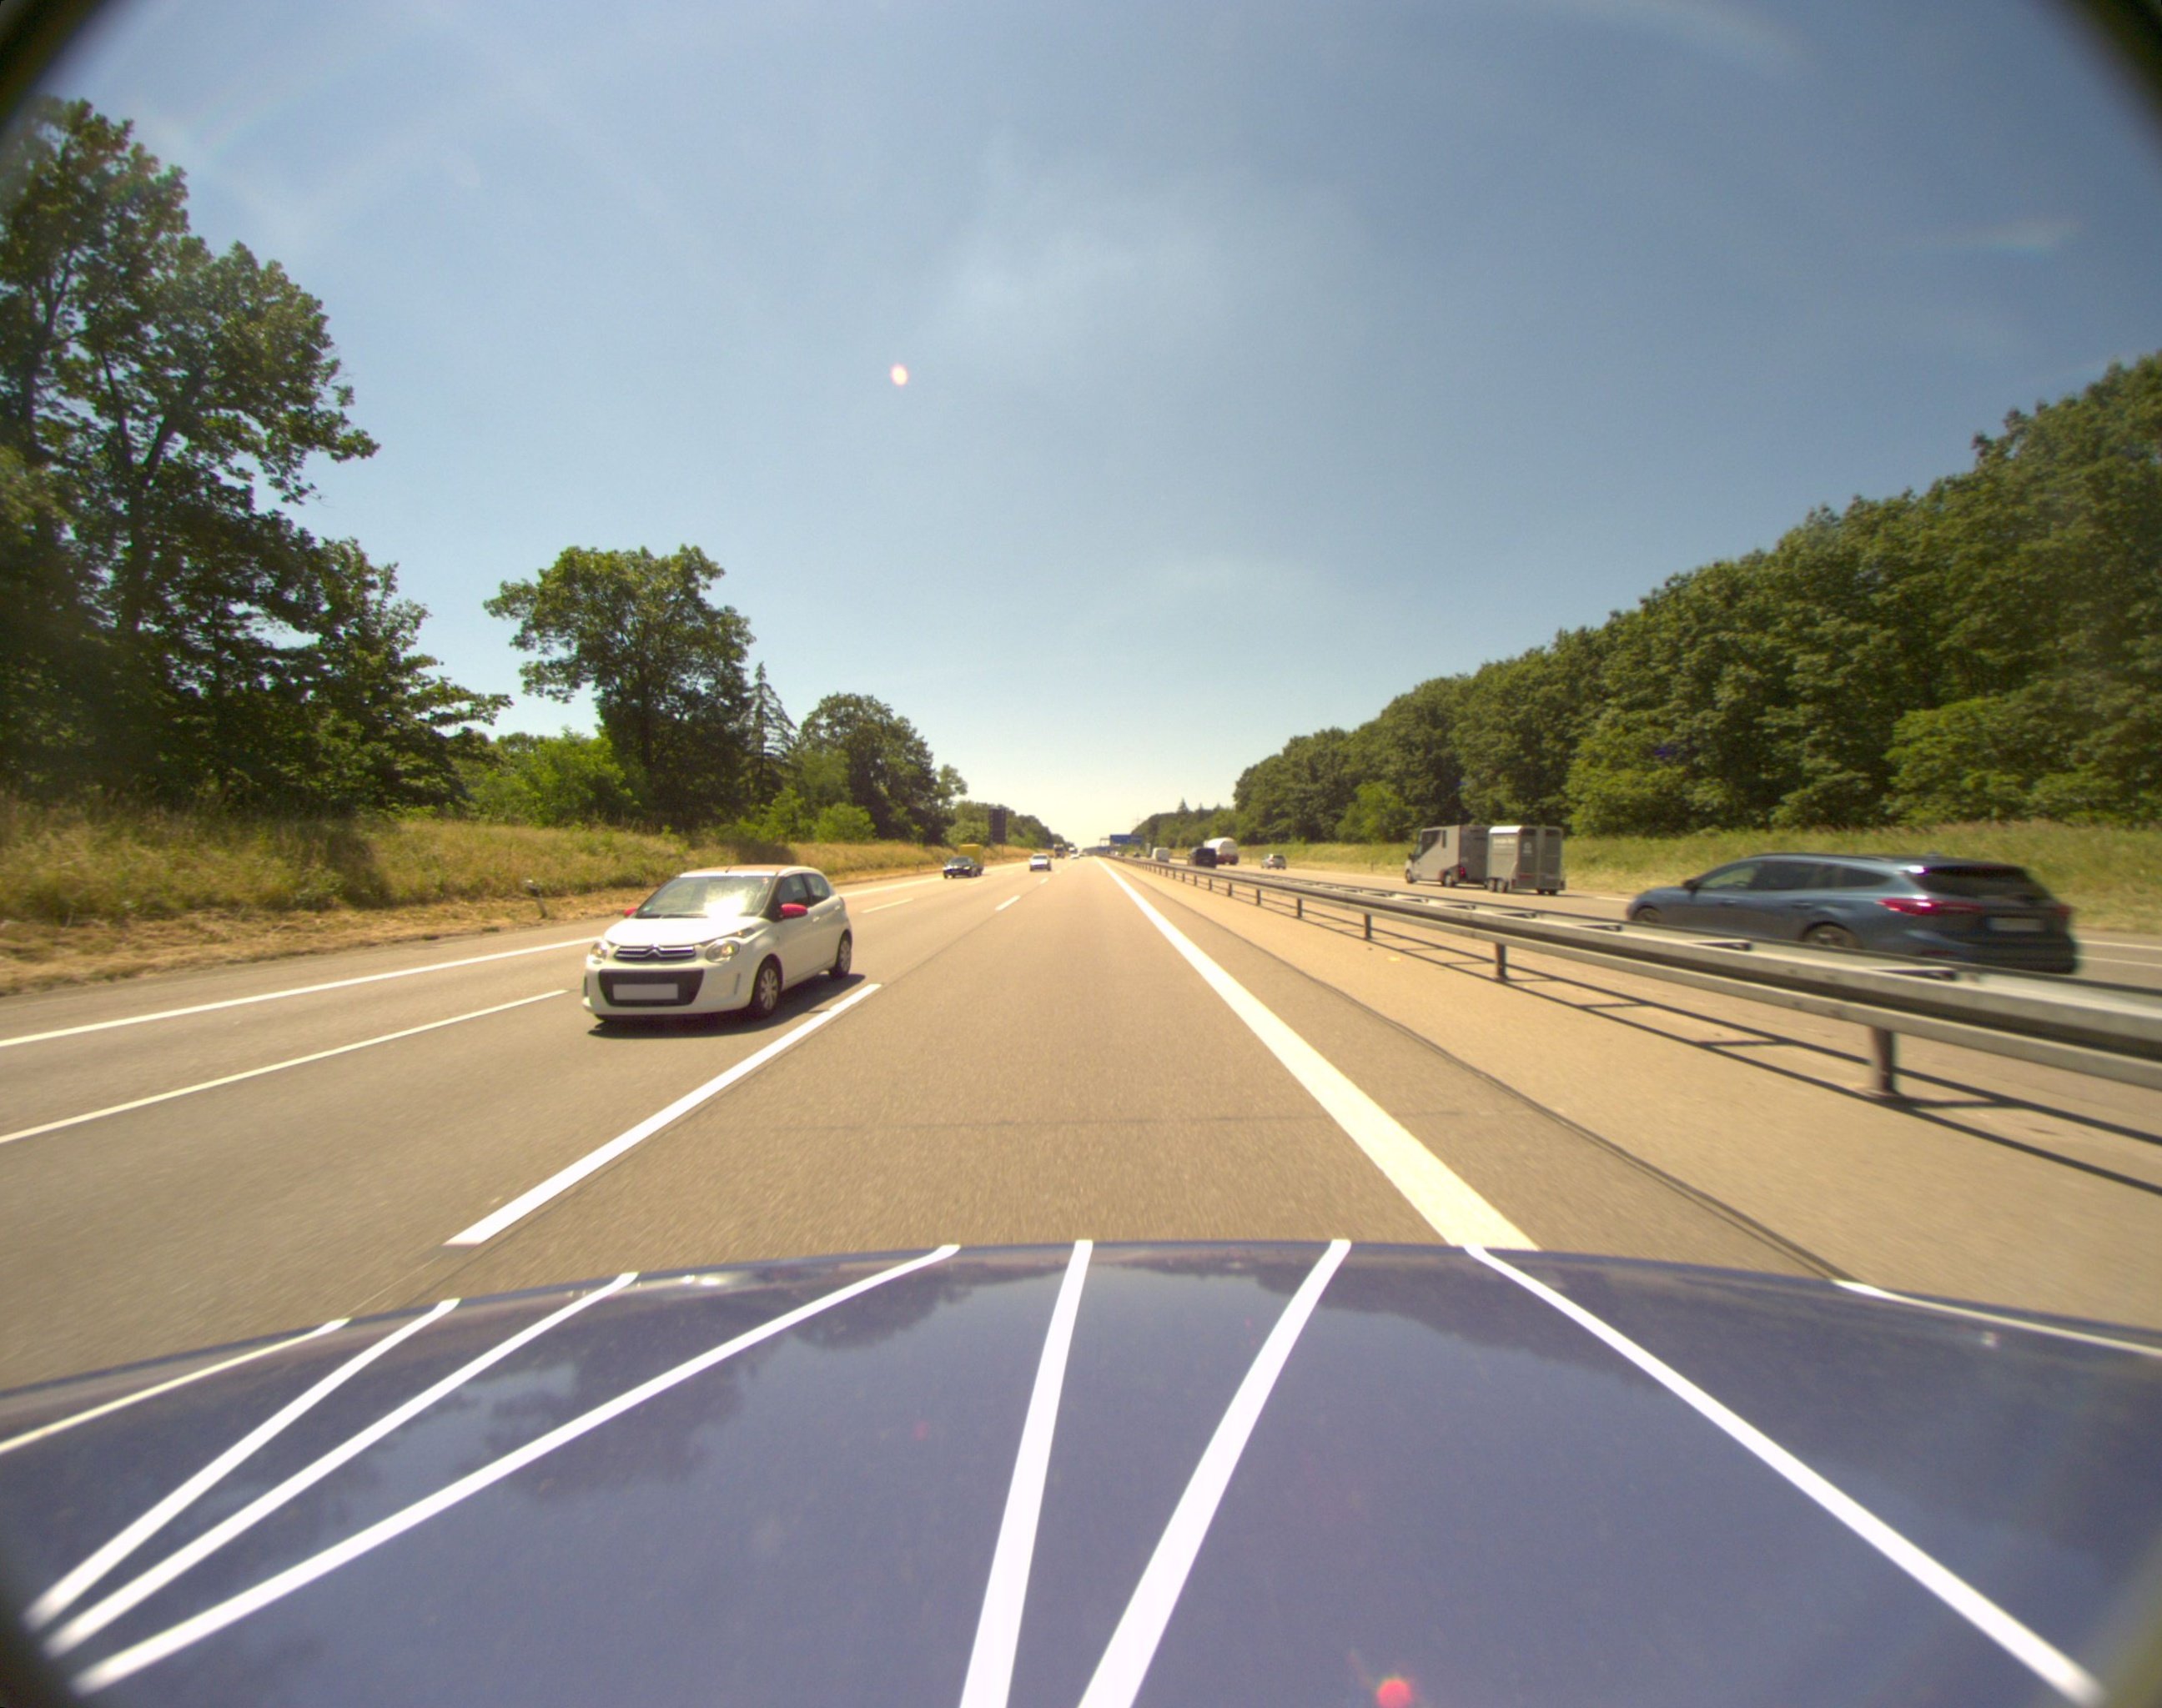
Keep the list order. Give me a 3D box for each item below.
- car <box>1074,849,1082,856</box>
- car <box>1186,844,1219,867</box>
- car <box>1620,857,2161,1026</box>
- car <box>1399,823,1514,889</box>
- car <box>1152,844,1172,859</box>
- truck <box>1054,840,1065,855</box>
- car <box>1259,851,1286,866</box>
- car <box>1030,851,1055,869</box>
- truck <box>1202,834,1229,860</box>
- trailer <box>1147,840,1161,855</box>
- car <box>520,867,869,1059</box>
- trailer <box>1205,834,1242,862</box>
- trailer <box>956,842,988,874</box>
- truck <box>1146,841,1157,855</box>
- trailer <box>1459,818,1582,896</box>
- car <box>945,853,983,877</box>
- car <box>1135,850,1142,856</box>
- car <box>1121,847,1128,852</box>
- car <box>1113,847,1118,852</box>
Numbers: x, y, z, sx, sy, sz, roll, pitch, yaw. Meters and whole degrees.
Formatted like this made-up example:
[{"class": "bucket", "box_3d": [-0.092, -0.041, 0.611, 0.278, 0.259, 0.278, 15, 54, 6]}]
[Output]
[{"class": "car", "box_3d": [-0.730, -0.303, 174.162, 1.796, 1.412, 3.999, -2, 0, 0]}, {"class": "car", "box_3d": [10.267, 0.130, 64.462, 1.881, 1.837, 5.833, 1, 1, 1]}, {"class": "car", "box_3d": [9.037, 0.810, 9.257, 1.621, 1.474, 4.624, 1, 0, 0]}, {"class": "car", "box_3d": [17.599, 0.068, 36.112, 2.218, 2.841, 6.453, 1, 1, 0]}, {"class": "car", "box_3d": [10.599, -0.333, 100.050, 2.001, 1.936, 5.741, 1, 0, 0]}, {"class": "truck", "box_3d": [-5.731, -1.571, 200.985, 2.605, 3.811, 5.969, -2, 0, 1]}, {"class": "car", "box_3d": [18.753, 0.432, 74.482, 1.573, 1.456, 4.035, 1, 0, 0]}, {"class": "car", "box_3d": [-3.230, 0.512, 64.855, 1.749, 1.457, 3.980, -2, 0, 1]}, {"class": "truck", "box_3d": [18.800, -0.976, 106.619, 2.689, 3.414, 6.144, 1, 1, 1]}, {"class": "trailer", "box_3d": [20.586, -1.766, 215.891, 2.711, 4.137, 14.337, 2, 0, 1]}, {"class": "car", "box_3d": [-3.815, 0.956, 8.407, 1.712, 1.486, 4.024, -2, 0, 1]}, {"class": "trailer", "box_3d": [18.682, -0.783, 100.289, 2.689, 3.414, 11.799, 1, 0, 1]}, {"class": "trailer", "box_3d": [-8.058, 0.275, 56.490, 1.707, 2.276, 3.839, -2, 1, 0]}, {"class": "truck", "box_3d": [20.599, -1.817, 223.142, 2.707, 4.137, 6.296, 2, 1, 1]}, {"class": "trailer", "box_3d": [17.488, 0.095, 30.556, 2.218, 2.841, 4.584, 1, 1, 0]}, {"class": "car", "box_3d": [-7.990, 0.728, 52.171, 1.826, 1.447, 4.788, -2, 0, 0]}, {"class": "car", "box_3d": [16.198, -0.269, 213.717, 1.678, 1.435, 5.135, 1, 0, 1]}, {"class": "car", "box_3d": [12.858, -1.345, 225.435, 1.713, 1.402, 5.083, 2, 1, 1]}, {"class": "car", "box_3d": [11.760, -1.505, 260.709, 1.659, 1.492, 4.600, 2, 0, 1]}]
